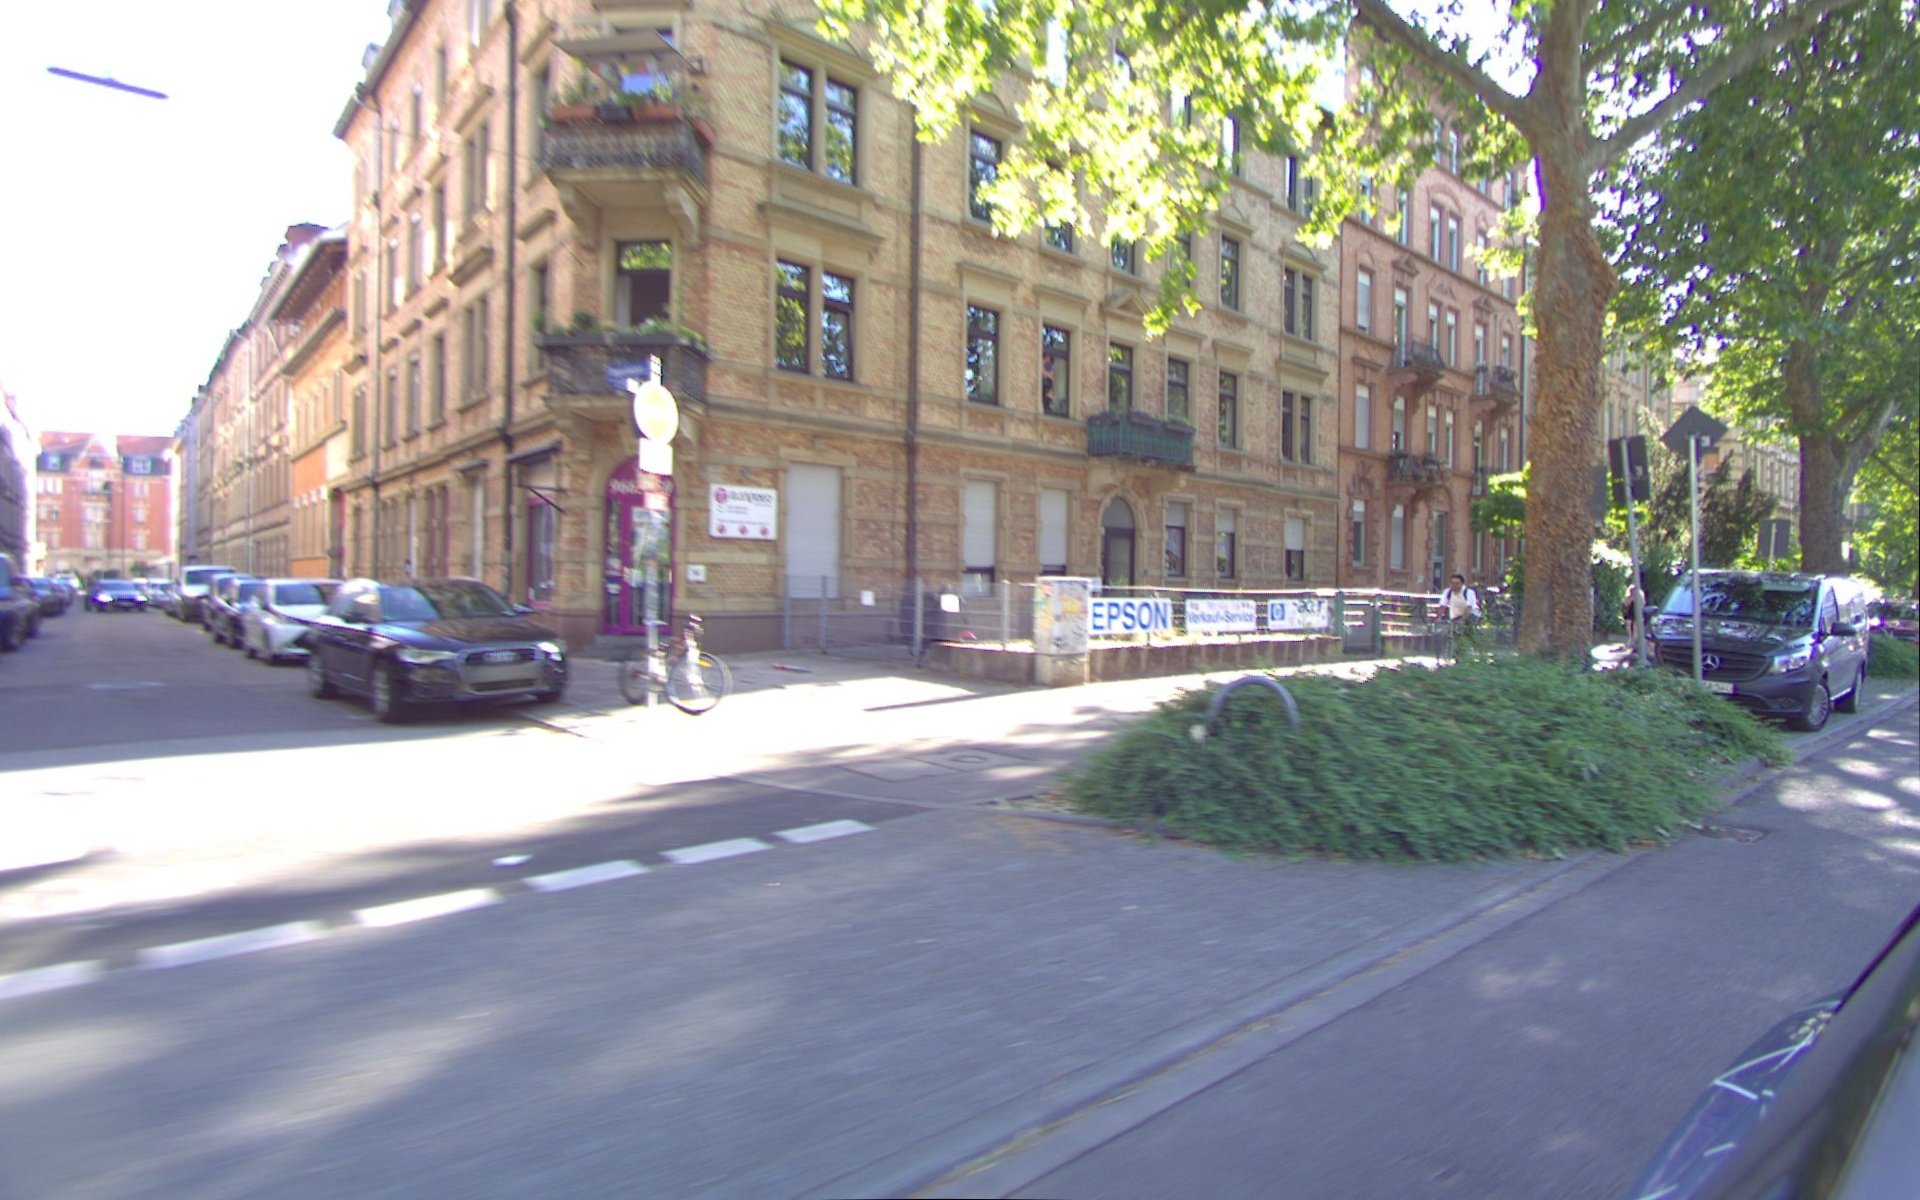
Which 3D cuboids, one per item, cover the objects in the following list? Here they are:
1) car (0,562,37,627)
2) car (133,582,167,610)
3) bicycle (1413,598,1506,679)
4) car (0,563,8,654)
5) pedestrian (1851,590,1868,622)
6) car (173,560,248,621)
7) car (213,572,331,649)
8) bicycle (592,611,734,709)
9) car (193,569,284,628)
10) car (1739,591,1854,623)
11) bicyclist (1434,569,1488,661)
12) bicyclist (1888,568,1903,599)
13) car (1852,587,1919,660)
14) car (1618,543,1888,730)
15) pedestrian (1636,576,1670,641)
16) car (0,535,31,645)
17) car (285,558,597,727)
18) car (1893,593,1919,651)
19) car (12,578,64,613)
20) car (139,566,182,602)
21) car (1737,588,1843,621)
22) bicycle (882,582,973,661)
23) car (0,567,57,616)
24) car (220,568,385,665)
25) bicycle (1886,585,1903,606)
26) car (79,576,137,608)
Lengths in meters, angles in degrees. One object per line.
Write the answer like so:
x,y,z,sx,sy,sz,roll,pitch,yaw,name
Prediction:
-28.008,-0.185,29.206,1.831,1.779,3.995,0,1,-40,car
-61.542,-0.354,76.896,1.964,2.039,3.996,0,1,-39,car
7.877,0.574,15.902,2.188,1.193,0.561,1,-1,-43,bicycle
-16.255,0.156,15.723,1.892,1.504,3.655,0,1,-40,car
45.416,0.322,51.096,0.597,1.569,0.540,4,-1,-42,pedestrian
-26.868,-0.351,36.235,1.964,2.039,3.995,0,1,-40,car
-15.102,0.176,22.136,1.712,1.513,3.994,0,1,-41,car
-3.195,0.605,10.807,1.687,0.928,0.594,1,1,39,bicycle
-20.016,-0.067,28.008,1.712,1.513,3.994,0,1,-41,car
45.339,0.389,54.907,1.875,1.559,4.551,0,-2,-42,car
7.855,0.233,15.874,0.633,1.398,0.543,2,0,-42,bicyclist
50.010,-0.864,54.121,0.543,1.646,0.634,2,1,44,bicyclist
22.779,0.506,24.083,4.423,1.568,1.718,-1,3,-41,car
10.706,0.378,13.498,5.113,2.039,1.996,1,1,-43,car
18.051,0.211,26.370,0.607,1.648,0.531,2,1,-41,pedestrian
-19.984,-0.239,20.119,1.964,2.039,4.616,0,1,-40,car
-6.166,0.365,11.742,4.603,1.567,1.892,1,1,45,car
27.202,0.594,27.977,3.932,1.480,1.717,-1,2,-42,car
-48.990,-0.254,53.833,1.831,1.779,3.995,0,1,-40,car
-47.165,-0.929,59.686,1.964,2.039,3.996,0,1,-39,car
48.502,0.241,59.227,1.874,1.869,4.555,0,1,-41,car
-0.547,0.310,16.142,0.467,1.168,1.868,0,1,-37,bicycle
-36.102,-0.352,38.975,1.831,1.779,3.995,0,1,-40,car
-12.008,0.227,18.376,1.715,1.567,4.120,0,1,-45,car
50.085,-0.227,54.243,0.560,1.051,1.904,-3,-3,41,bicycle
-40.138,-0.399,47.753,1.964,1.471,3.997,0,1,-38,car
